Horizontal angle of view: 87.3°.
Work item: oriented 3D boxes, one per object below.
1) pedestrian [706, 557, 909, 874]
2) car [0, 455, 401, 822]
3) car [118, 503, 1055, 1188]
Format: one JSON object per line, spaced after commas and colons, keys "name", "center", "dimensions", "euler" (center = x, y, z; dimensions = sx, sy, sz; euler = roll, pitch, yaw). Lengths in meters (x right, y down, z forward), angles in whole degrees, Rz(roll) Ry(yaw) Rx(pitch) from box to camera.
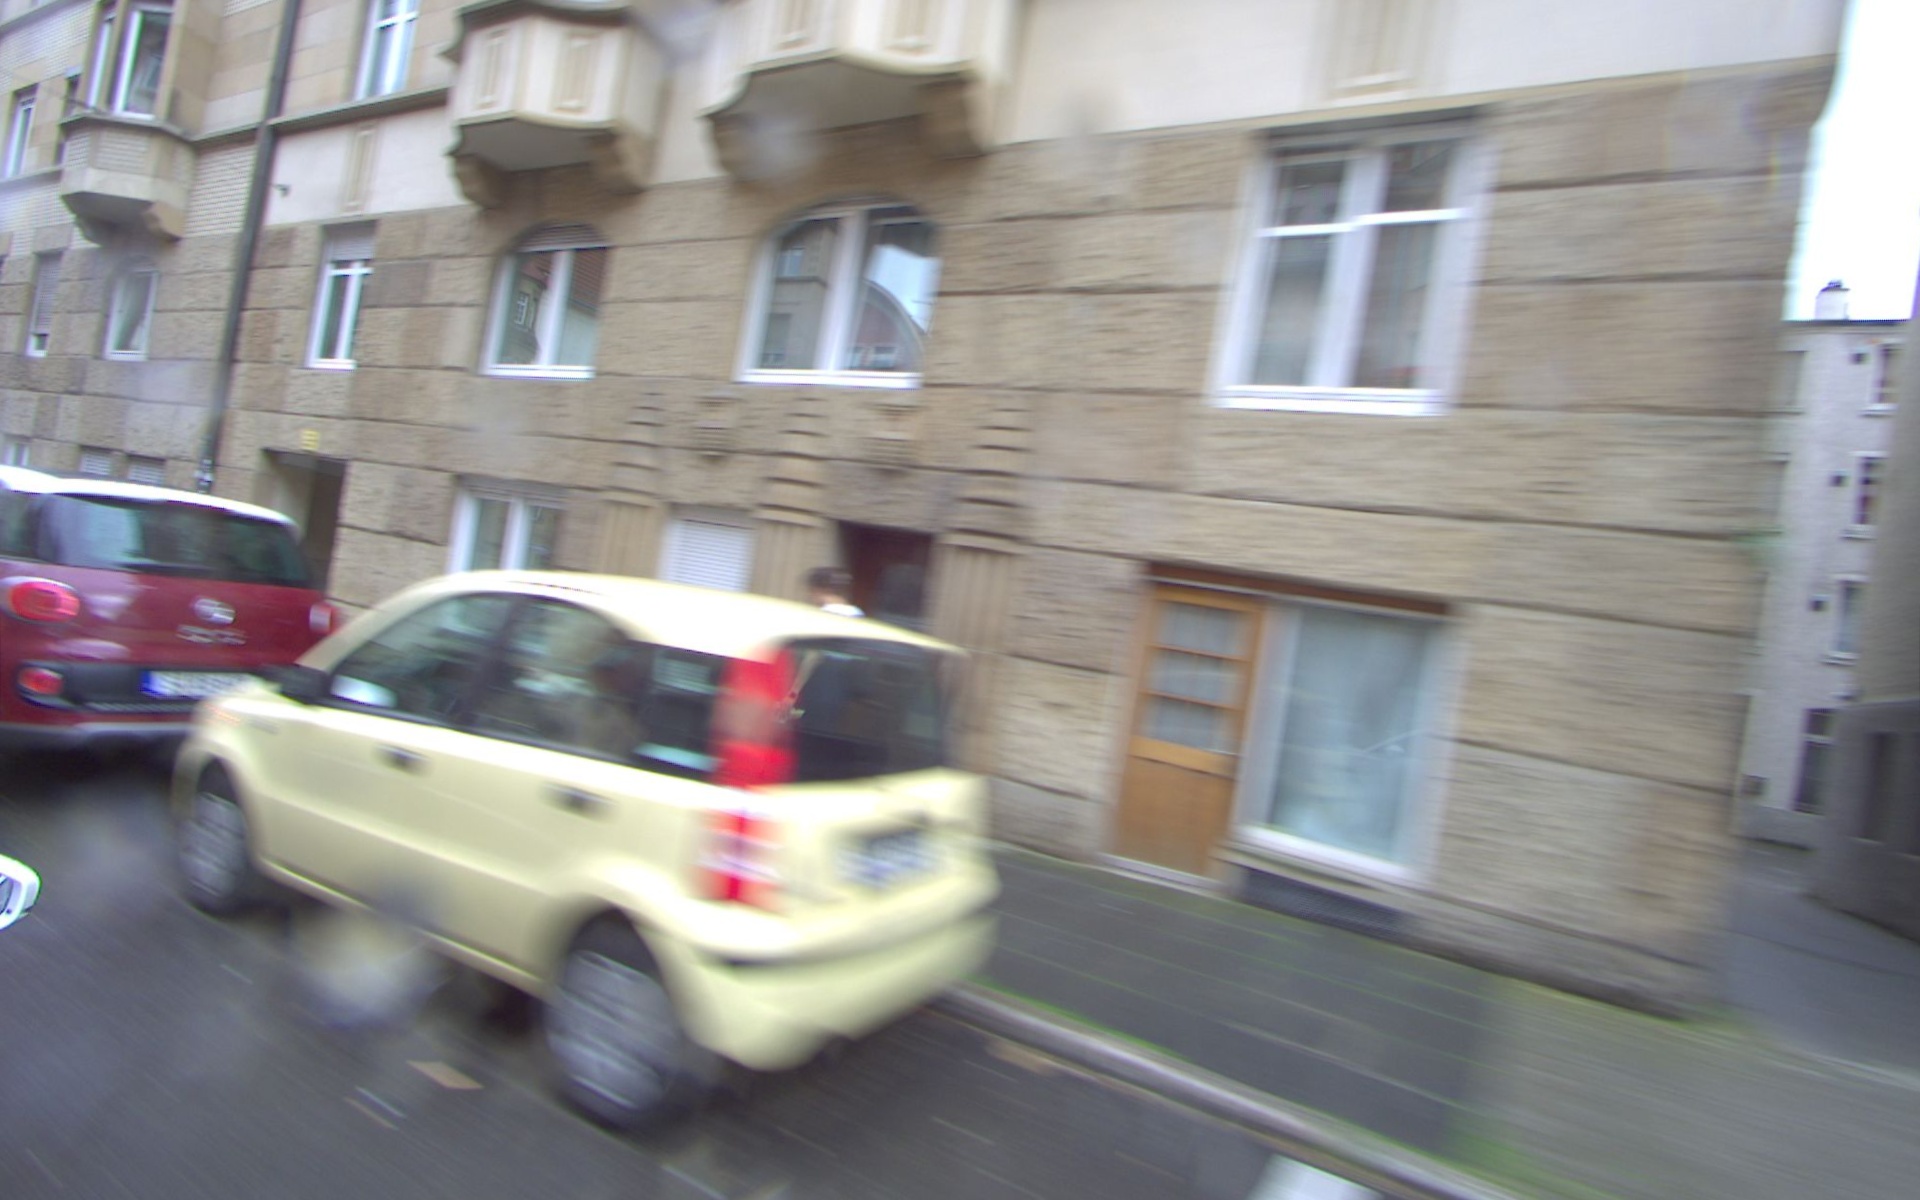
{"name": "pedestrian", "center": [-0.915, 0.694, 6.196], "dimensions": [0.599, 1.752, 0.864], "euler": [7, -2, 31]}
{"name": "car", "center": [-5.571, 0.072, 6.206], "dimensions": [3.931, 1.646, 1.716], "euler": [7, -3, 29]}
{"name": "car", "center": [-1.578, 0.601, 4.000], "dimensions": [3.403, 1.494, 1.563], "euler": [7, -3, 32]}
